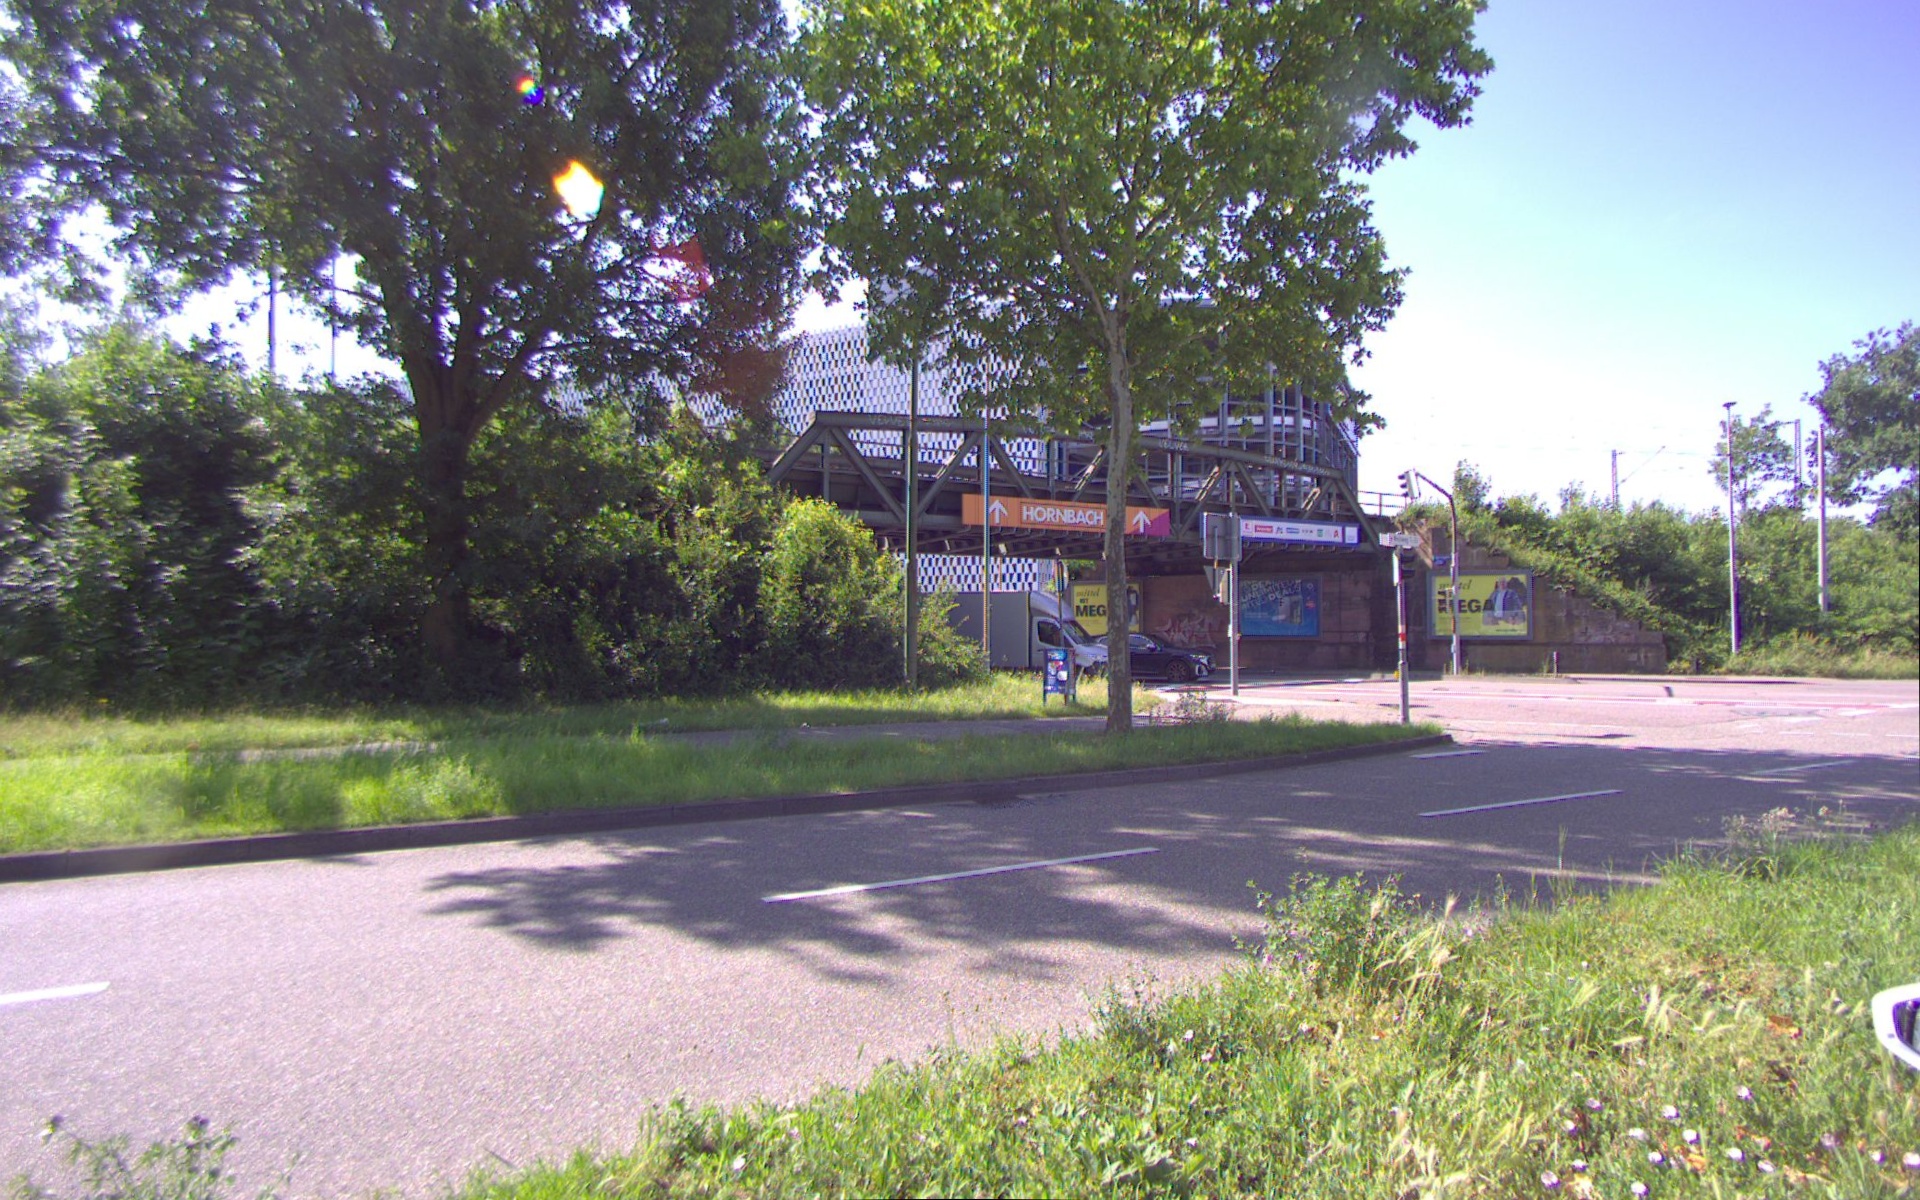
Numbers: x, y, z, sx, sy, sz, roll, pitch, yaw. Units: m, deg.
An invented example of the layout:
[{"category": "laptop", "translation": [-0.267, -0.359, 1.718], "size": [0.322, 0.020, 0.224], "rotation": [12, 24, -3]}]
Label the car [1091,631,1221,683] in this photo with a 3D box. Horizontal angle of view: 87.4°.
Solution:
[{"category": "car", "translation": [6.647, 1.918, 34.048], "size": [3.926, 1.668, 1.902], "rotation": [-2, -2, 27]}]

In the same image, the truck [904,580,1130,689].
[{"category": "truck", "translation": [1.717, 1.142, 31.554], "size": [6.739, 3.146, 2.216], "rotation": [-2, -2, 27]}]
